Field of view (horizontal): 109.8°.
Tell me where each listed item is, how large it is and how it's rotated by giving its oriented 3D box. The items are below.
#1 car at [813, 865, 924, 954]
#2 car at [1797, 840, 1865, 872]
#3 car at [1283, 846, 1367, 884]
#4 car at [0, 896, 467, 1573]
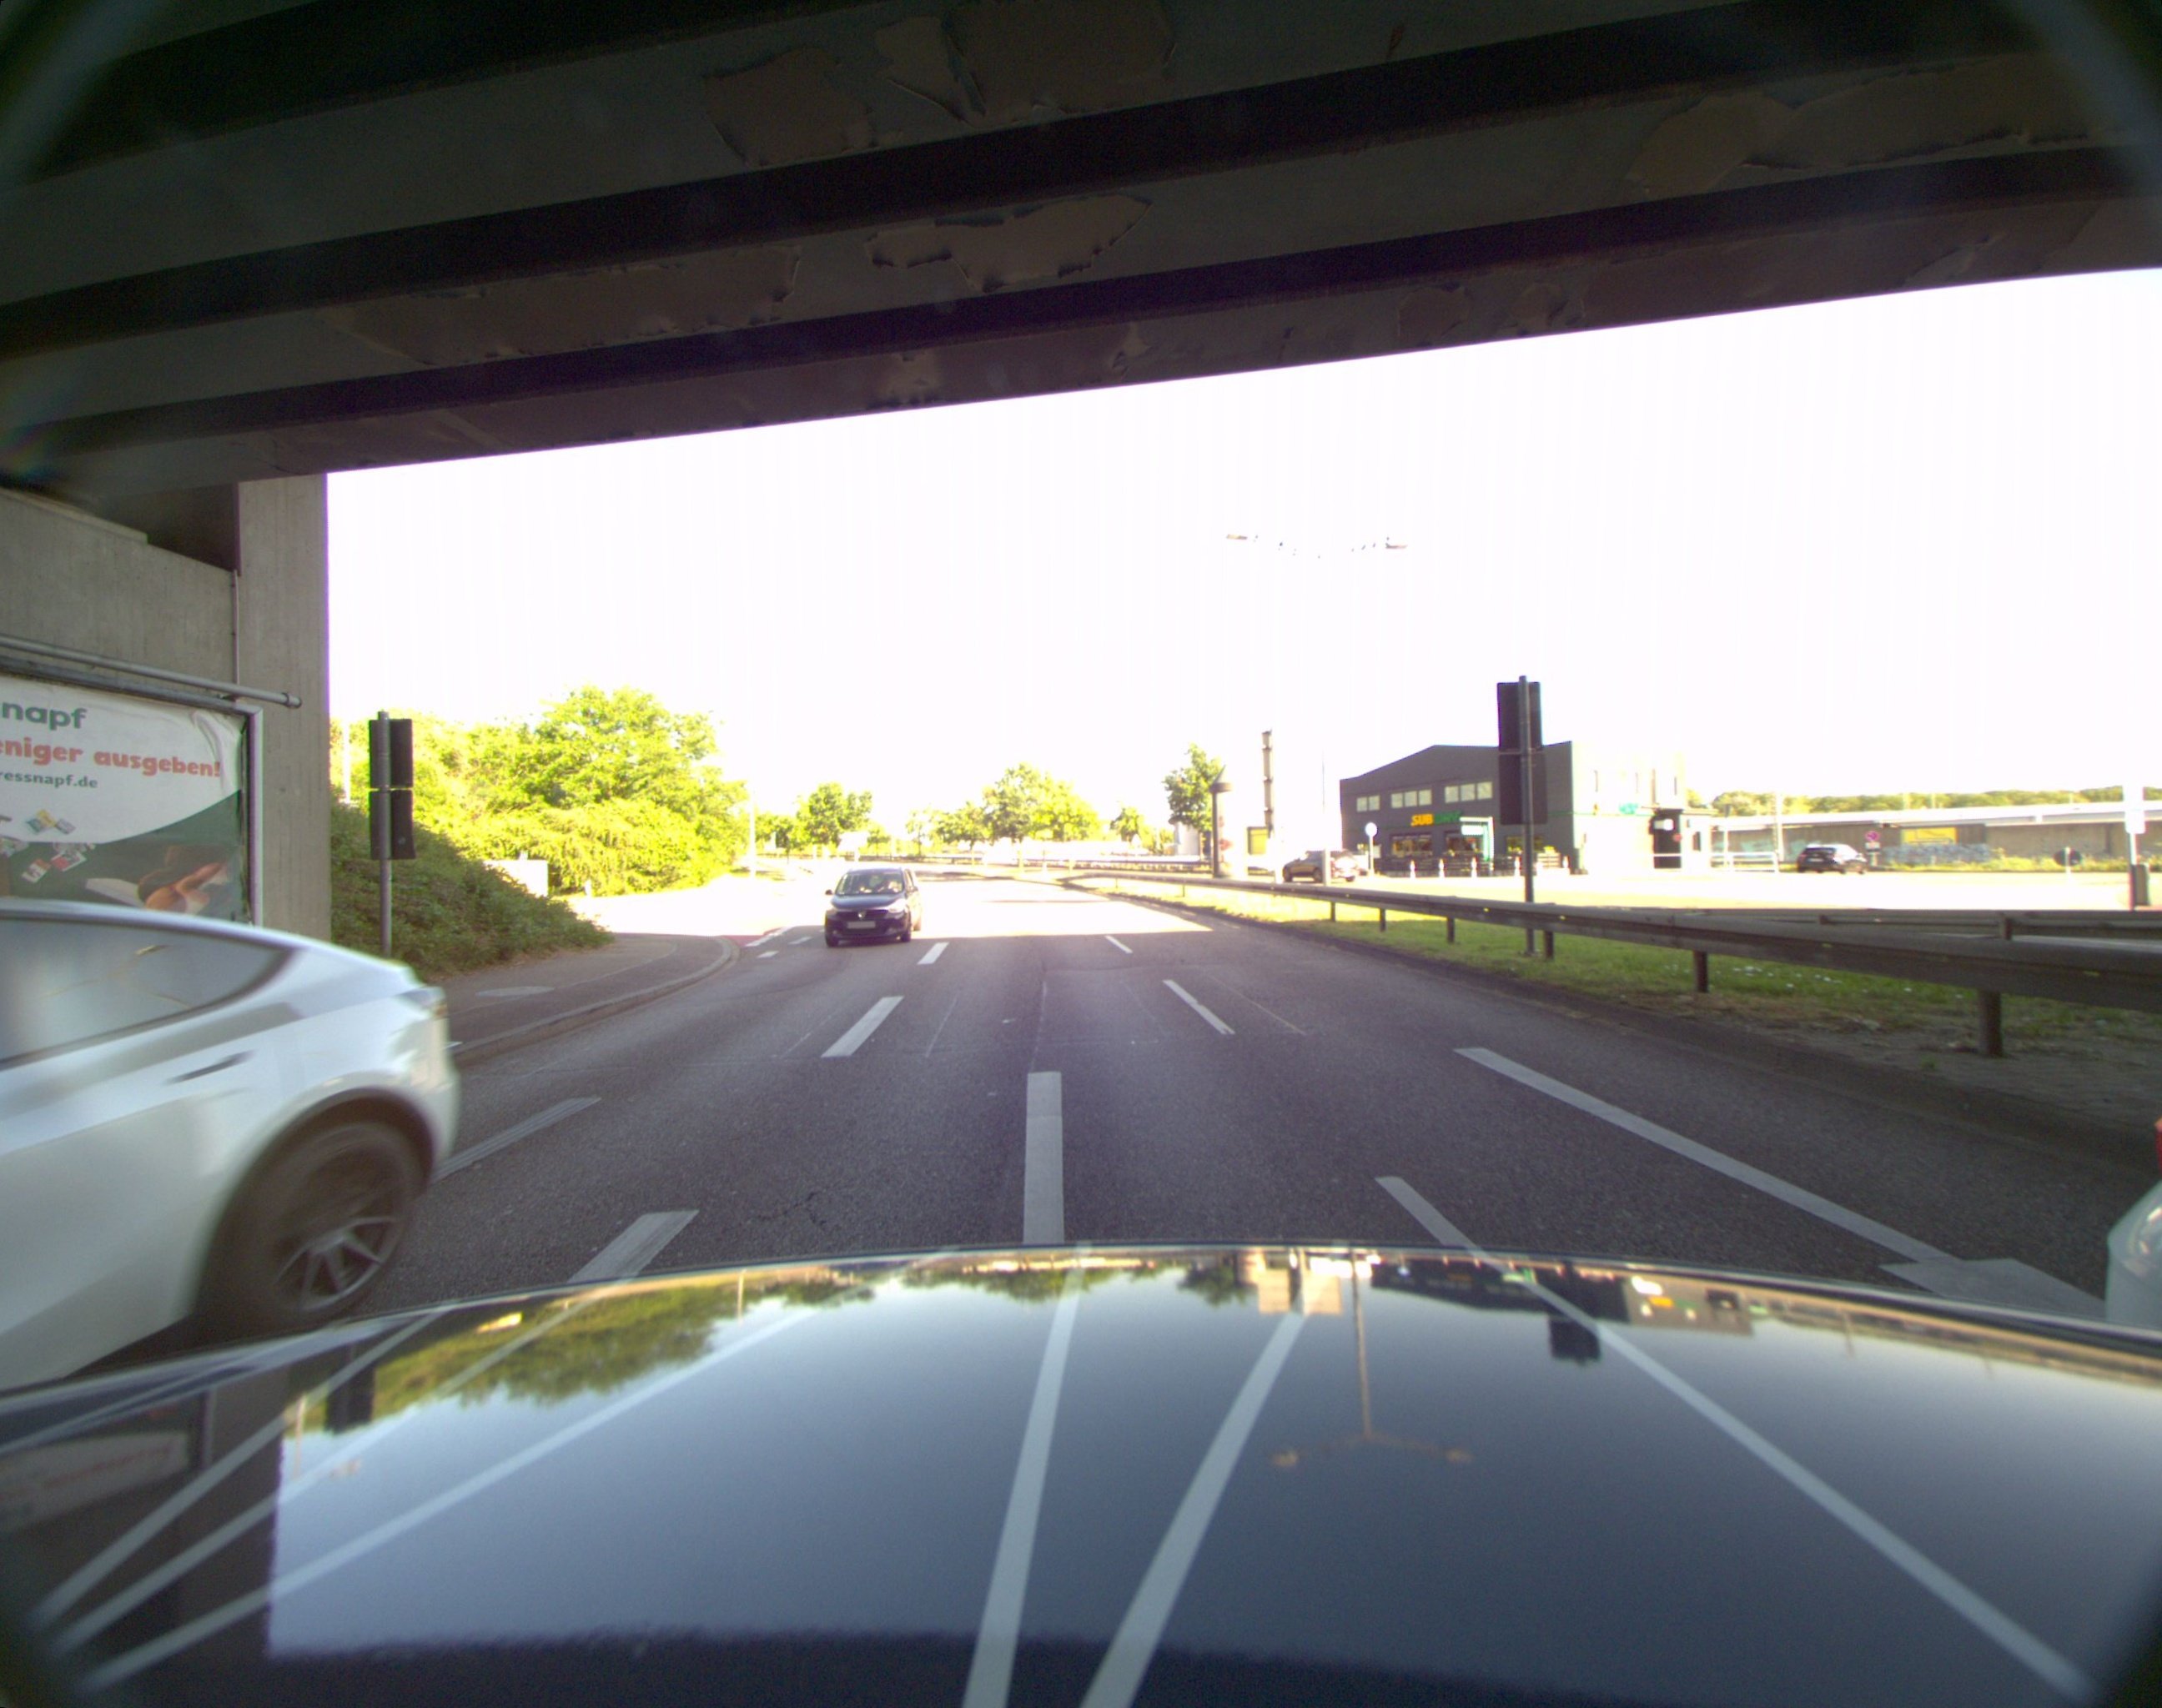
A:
[{"bbox_3d":[-4.622,1.127,17.080,1.780,1.591,4.102,-3,1,-8],"label":"car"},{"bbox_3d":[38.417,0.096,38.884,4.007,1.434,1.878,-3,1,-37],"label":"car"},{"bbox_3d":[11.481,0.479,36.055,1.858,1.607,4.360,-3,1,-12],"label":"car"},{"bbox_3d":[-3.583,1.005,1.052,1.999,1.542,4.419,-2,0,-4],"label":"car"}]
